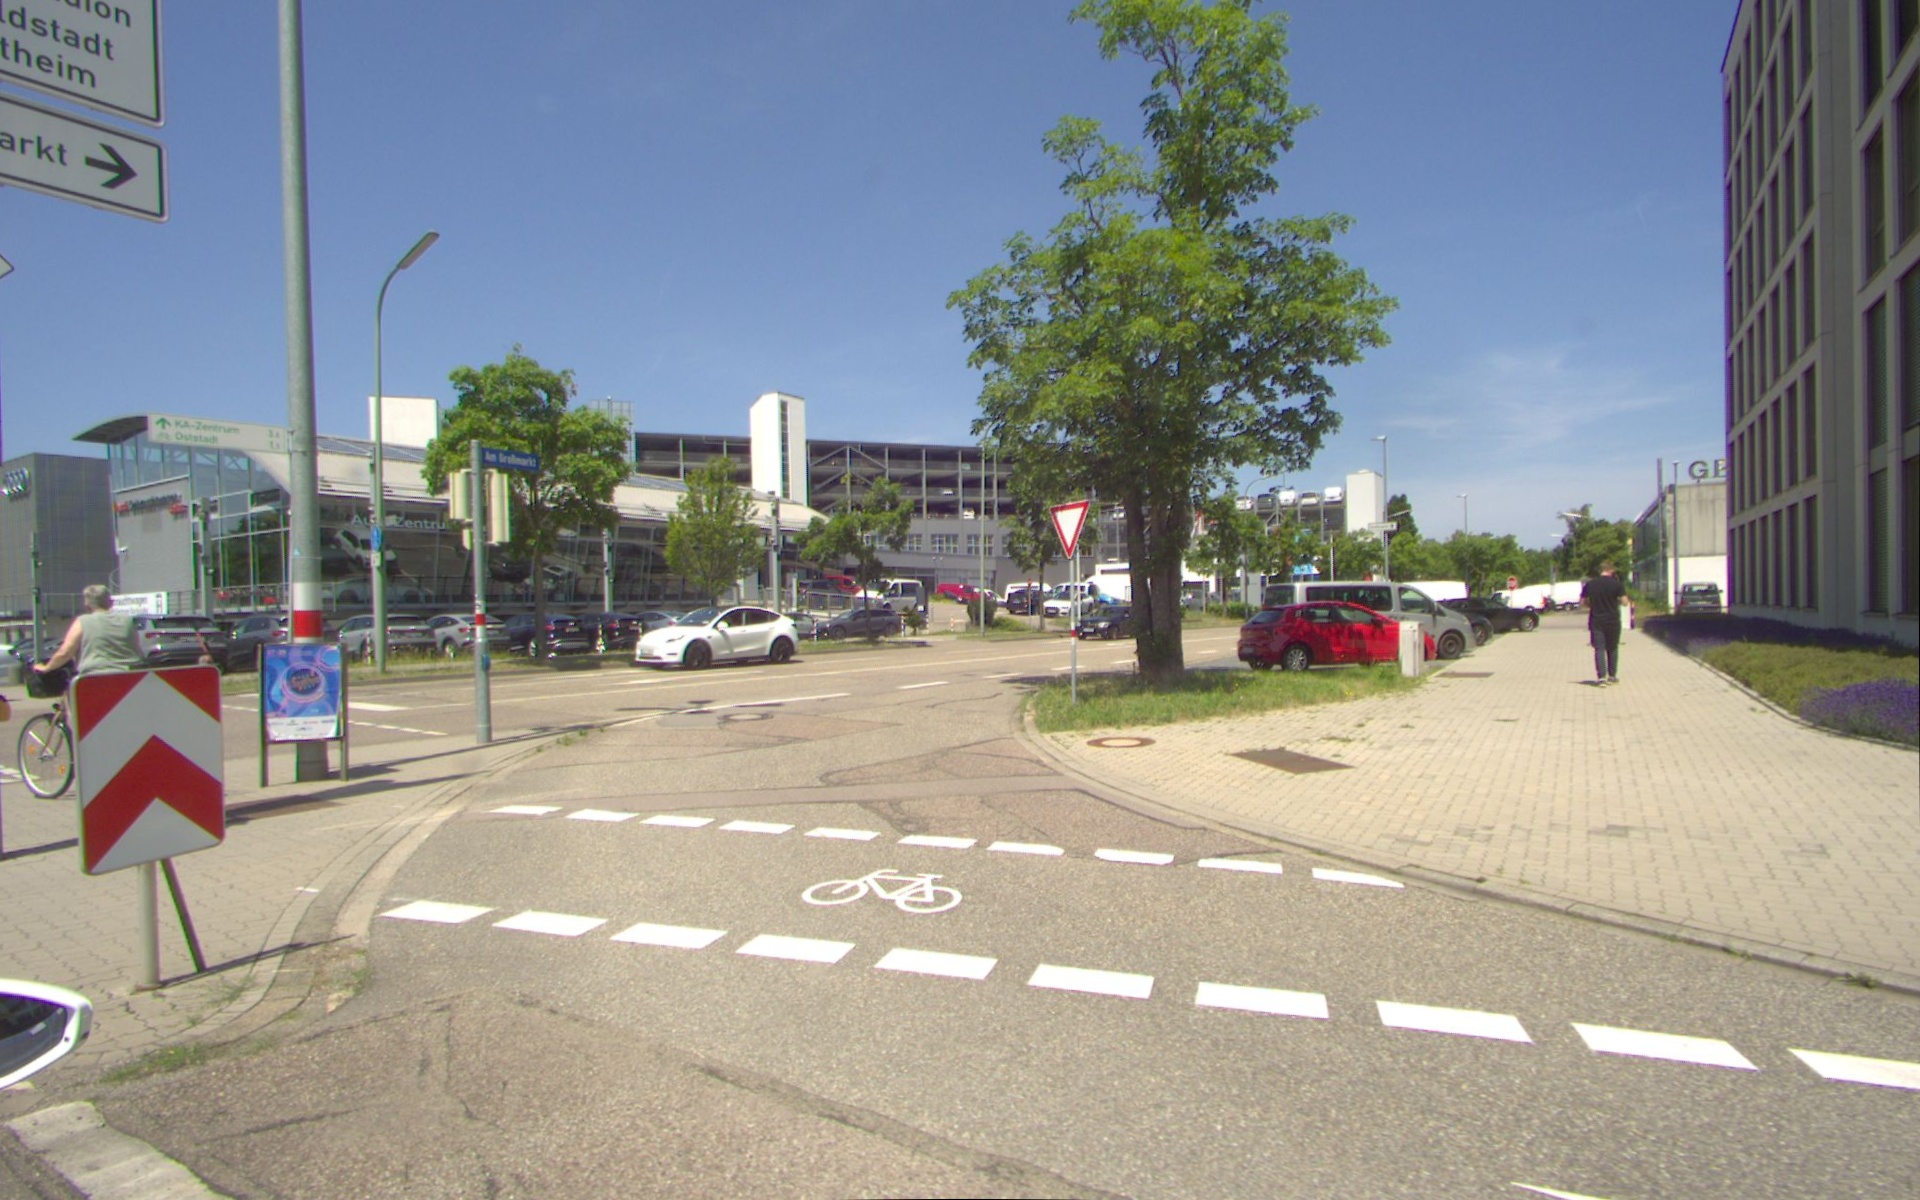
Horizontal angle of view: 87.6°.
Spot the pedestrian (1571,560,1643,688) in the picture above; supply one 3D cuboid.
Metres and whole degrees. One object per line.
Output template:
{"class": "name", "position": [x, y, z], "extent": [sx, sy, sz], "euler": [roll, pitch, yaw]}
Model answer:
{"class": "pedestrian", "position": [9.780, 0.356, 15.137], "extent": [0.764, 1.869, 0.861], "euler": [-2, 0, 40]}

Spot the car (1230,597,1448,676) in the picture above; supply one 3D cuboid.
{"class": "car", "position": [7.821, 0.720, 20.805], "extent": [3.924, 1.454, 1.609], "euler": [-2, 0, -9]}

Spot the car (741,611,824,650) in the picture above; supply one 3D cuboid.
{"class": "car", "position": [-8.807, 1.488, 49.782], "extent": [3.660, 1.801, 1.738], "euler": [-1, 0, -31]}

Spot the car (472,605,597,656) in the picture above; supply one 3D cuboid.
{"class": "car", "position": [-14.873, 1.029, 34.960], "extent": [4.410, 1.662, 1.823], "euler": [-1, 1, 32]}

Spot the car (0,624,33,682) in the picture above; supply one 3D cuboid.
{"class": "car", "position": [-26.272, 1.373, 24.672], "extent": [1.972, 1.476, 4.729], "euler": [0, 0, 34]}

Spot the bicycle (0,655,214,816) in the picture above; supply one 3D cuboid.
{"class": "bicycle", "position": [-7.106, 1.054, 8.281], "extent": [1.891, 1.142, 0.786], "euler": [0, 0, 29]}

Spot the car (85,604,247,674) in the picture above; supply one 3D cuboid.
{"class": "car", "position": [-20.569, 0.960, 25.920], "extent": [4.207, 1.661, 1.989], "euler": [0, 0, 32]}

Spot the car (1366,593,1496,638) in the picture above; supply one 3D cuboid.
{"class": "car", "position": [16.908, 0.550, 36.050], "extent": [3.923, 1.483, 1.719], "euler": [-1, 0, -6]}

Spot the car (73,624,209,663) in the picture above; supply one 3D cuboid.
{"class": "car", "position": [-34.144, 1.772, 41.870], "extent": [1.694, 1.480, 4.083], "euler": [0, 0, 32]}

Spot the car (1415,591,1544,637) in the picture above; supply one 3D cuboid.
{"class": "car", "position": [20.462, 0.572, 39.553], "extent": [4.075, 1.558, 1.815], "euler": [-3, -1, 2]}

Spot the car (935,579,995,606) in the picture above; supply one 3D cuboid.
{"class": "car", "position": [0.363, -0.583, 78.616], "extent": [4.286, 2.040, 1.991], "euler": [-1, 0, 30]}

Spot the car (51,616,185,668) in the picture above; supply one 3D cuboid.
{"class": "car", "position": [-36.123, 1.759, 43.060], "extent": [1.972, 2.040, 3.978], "euler": [-1, 0, 33]}

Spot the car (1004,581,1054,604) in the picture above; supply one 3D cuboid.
{"class": "car", "position": [6.387, -0.678, 92.849], "extent": [4.257, 2.040, 1.989], "euler": [-1, 0, 32]}

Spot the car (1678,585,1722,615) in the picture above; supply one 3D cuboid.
{"class": "car", "position": [40.879, -0.019, 55.395], "extent": [1.765, 1.542, 3.555], "euler": [-2, 0, 34]}

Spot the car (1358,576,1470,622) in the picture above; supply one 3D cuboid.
{"class": "car", "position": [26.246, -0.030, 58.102], "extent": [5.696, 2.567, 2.099], "euler": [0, 0, 17]}

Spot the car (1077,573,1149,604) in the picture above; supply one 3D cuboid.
{"class": "car", "position": [10.637, -0.767, 69.648], "extent": [4.578, 2.040, 1.989], "euler": [-1, 0, 32]}

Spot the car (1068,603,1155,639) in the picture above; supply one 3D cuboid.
{"class": "car", "position": [6.515, 0.882, 42.682], "extent": [1.653, 1.429, 4.200], "euler": [-1, -1, 42]}

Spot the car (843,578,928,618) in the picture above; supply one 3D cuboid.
{"class": "car", "position": [-3.981, -0.102, 54.609], "extent": [1.972, 2.040, 5.117], "euler": [-1, 0, 32]}

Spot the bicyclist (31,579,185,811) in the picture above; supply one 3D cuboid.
{"class": "bicyclist", "position": [-6.925, 0.736, 8.151], "extent": [0.742, 1.772, 0.733], "euler": [0, 0, 28]}

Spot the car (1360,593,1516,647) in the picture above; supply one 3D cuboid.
{"class": "car", "position": [14.299, 0.578, 30.063], "extent": [3.924, 1.483, 1.718], "euler": [-1, 0, -8]}

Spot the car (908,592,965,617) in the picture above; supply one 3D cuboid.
{"class": "car", "position": [-1.786, 0.363, 74.946], "extent": [3.943, 1.810, 1.730], "euler": [-1, 0, 32]}

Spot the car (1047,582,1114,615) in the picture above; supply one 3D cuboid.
{"class": "car", "position": [7.813, -0.069, 65.041], "extent": [3.943, 2.040, 1.840], "euler": [-1, 0, 32]}

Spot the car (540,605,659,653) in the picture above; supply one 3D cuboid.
{"class": "car", "position": [-13.442, 1.045, 37.303], "extent": [4.409, 1.661, 1.824], "euler": [0, 0, 32]}

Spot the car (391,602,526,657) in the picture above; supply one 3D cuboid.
{"class": "car", "position": [-16.399, 0.936, 32.680], "extent": [4.459, 1.662, 1.881], "euler": [-1, 1, 32]}

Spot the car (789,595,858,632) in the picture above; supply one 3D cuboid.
{"class": "car", "position": [-7.945, 0.768, 58.592], "extent": [1.839, 2.040, 3.733], "euler": [-1, 0, 41]}

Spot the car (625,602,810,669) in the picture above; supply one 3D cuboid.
{"class": "car", "position": [-6.408, 0.887, 26.935], "extent": [1.974, 1.609, 4.662], "euler": [1, 1, 37]}

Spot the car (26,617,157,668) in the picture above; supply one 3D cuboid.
{"class": "car", "position": [-38.505, 1.845, 44.484], "extent": [1.972, 2.040, 3.978], "euler": [-1, 0, 33]}

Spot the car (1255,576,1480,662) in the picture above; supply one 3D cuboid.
{"class": "car", "position": [9.721, 0.433, 24.010], "extent": [4.814, 1.839, 1.704], "euler": [-2, 0, -10]}

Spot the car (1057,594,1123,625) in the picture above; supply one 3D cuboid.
{"class": "car", "position": [8.775, 0.658, 67.578], "extent": [3.943, 2.040, 1.989], "euler": [-1, 0, 32]}

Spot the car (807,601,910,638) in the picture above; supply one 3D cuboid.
{"class": "car", "position": [-4.893, 0.912, 48.484], "extent": [4.703, 1.662, 1.821], "euler": [-1, 1, -36]}

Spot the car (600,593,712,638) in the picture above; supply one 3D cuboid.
{"class": "car", "position": [-12.062, 0.598, 39.668], "extent": [4.410, 1.662, 1.823], "euler": [-1, 1, 32]}

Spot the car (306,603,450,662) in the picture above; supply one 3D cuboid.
{"class": "car", "position": [-17.763, 0.938, 30.512], "extent": [4.377, 1.662, 1.989], "euler": [-1, 1, 32]}

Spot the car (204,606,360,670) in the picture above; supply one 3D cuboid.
{"class": "car", "position": [-19.106, 1.015, 28.170], "extent": [4.492, 1.661, 1.989], "euler": [-1, 0, 32]}

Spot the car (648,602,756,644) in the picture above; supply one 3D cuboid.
{"class": "car", "position": [-10.748, 0.931, 41.679], "extent": [4.410, 1.662, 1.823], "euler": [-1, 1, 32]}

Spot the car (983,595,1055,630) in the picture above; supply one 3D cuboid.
{"class": "car", "position": [3.582, 0.780, 61.137], "extent": [3.943, 2.040, 1.989], "euler": [-1, 0, 32]}

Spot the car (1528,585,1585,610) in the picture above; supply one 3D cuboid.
{"class": "car", "position": [54.183, -0.232, 90.940], "extent": [4.304, 2.149, 2.081], "euler": [-1, 0, 36]}

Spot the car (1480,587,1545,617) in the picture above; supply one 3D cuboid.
{"class": "car", "position": [40.364, 0.152, 73.218], "extent": [3.949, 2.040, 1.986], "euler": [-1, 0, 37]}

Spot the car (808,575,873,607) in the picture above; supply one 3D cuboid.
{"class": "car", "position": [-8.164, -0.592, 68.248], "extent": [3.937, 2.040, 1.992], "euler": [-1, 0, 27]}
